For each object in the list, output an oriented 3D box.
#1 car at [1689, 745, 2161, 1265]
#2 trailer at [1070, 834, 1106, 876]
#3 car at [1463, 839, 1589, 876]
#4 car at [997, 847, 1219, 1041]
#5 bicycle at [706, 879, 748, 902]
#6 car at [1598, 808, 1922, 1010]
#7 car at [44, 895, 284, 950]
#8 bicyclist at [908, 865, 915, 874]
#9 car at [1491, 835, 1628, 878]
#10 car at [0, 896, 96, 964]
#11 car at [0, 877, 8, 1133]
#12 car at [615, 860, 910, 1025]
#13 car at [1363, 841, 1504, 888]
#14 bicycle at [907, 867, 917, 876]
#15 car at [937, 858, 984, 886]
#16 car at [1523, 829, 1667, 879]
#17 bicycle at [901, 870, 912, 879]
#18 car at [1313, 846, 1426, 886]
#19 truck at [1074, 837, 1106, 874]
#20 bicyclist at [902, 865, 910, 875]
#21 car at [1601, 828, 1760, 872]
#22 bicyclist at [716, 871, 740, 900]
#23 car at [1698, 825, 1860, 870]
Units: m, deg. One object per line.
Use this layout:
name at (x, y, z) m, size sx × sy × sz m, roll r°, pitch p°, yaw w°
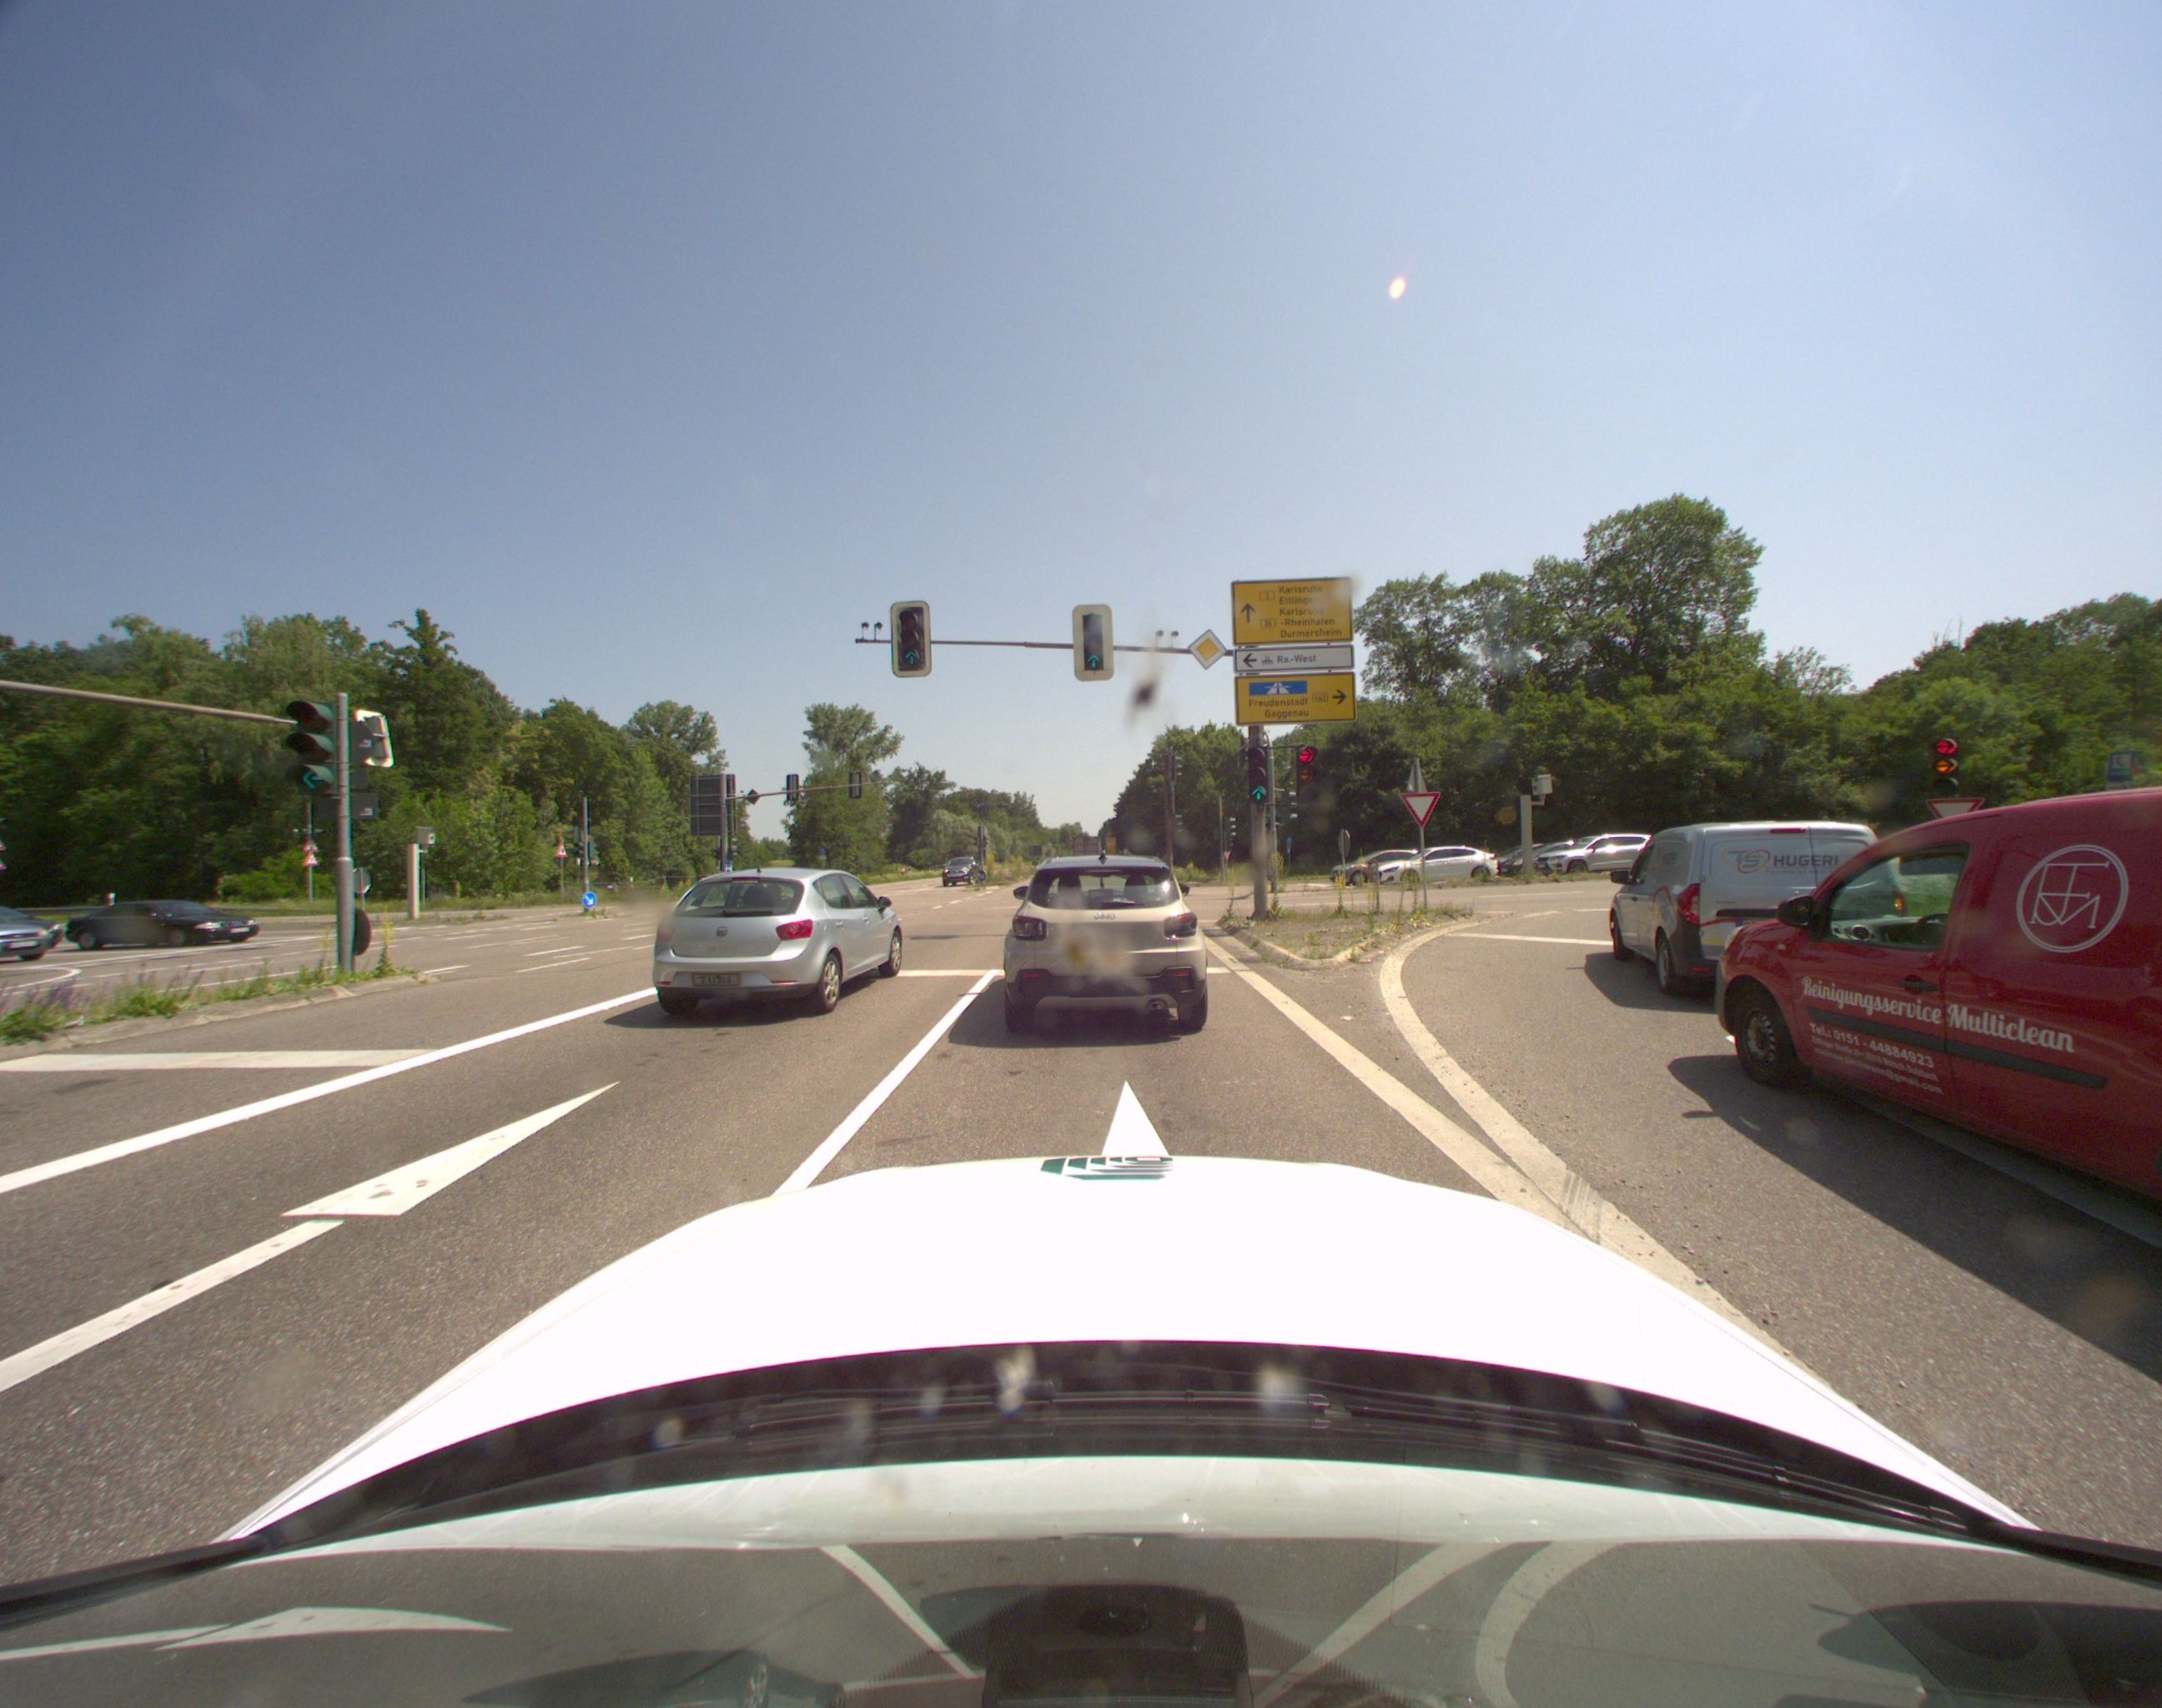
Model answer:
car at (4.846, 0.519, 3.564) m, size 1.780 × 1.822 × 4.511 m, roll -1°, pitch 0°, yaw 12°
trailer at (0.856, 0.172, 84.566) m, size 3.370 × 3.989 × 10.808 m, roll 0°, pitch -1°, yaw 2°
car at (20.459, 0.174, 37.590) m, size 4.600 × 1.498 × 2.112 m, roll -2°, pitch -1°, yaw 1°
car at (0.288, 0.741, 8.580) m, size 1.760 × 1.535 × 4.002 m, roll -1°, pitch 0°, yaw 2°
bicycle at (-18.293, 1.887, 42.128) m, size 0.715 × 1.063 × 1.881 m, roll -3°, pitch -1°, yaw 38°
car at (7.353, 0.485, 9.355) m, size 1.740 × 1.773 × 4.136 m, roll -2°, pitch 0°, yaw 24°
car at (-27.246, 2.014, 24.334) m, size 4.787 × 1.290 × 2.106 m, roll -2°, pitch 0°, yaw 1°
bicyclist at (-21.744, 2.005, 104.468) m, size 0.730 × 1.195 × 0.594 m, roll -3°, pitch -1°, yaw 12°
car at (19.808, 0.121, 33.889) m, size 4.404 × 1.535 × 2.122 m, roll -2°, pitch -1°, yaw 0°
car at (-28.504, 1.980, 20.493) m, size 4.788 × 1.567 × 2.130 m, roll -2°, pitch 0°, yaw 1°
car at (-6.746, 0.825, 2.430) m, size 1.759 × 1.391 × 4.014 m, roll 0°, pitch 0°, yaw 0°
car at (-3.211, 0.796, 9.075) m, size 1.659 × 1.430 × 3.830 m, roll 0°, pitch 0°, yaw 2°
car at (13.181, 0.392, 30.625) m, size 4.406 × 1.535 × 1.999 m, roll -2°, pitch 0°, yaw -1°
bicycle at (-21.708, 2.231, 104.547) m, size 0.600 × 1.006 × 1.560 m, roll -3°, pitch -1°, yaw 12°
car at (-7.783, 1.136, 53.146) m, size 1.986 × 1.678 × 5.368 m, roll -3°, pitch 0°, yaw 2°
car at (19.356, 0.017, 30.829) m, size 4.157 × 1.659 × 2.000 m, roll -2°, pitch 0°, yaw 1°
bicycle at (-21.432, 2.516, 100.186) m, size 0.671 × 1.005 × 1.806 m, roll -3°, pitch 0°, yaw 11°
car at (12.150, 0.495, 34.490) m, size 4.080 × 1.447 × 1.994 m, roll -2°, pitch 0°, yaw -1°
truck at (1.039, 0.216, 90.314) m, size 3.321 × 3.989 × 6.534 m, roll 0°, pitch -1°, yaw 1°
bicyclist at (-21.484, 1.999, 100.162) m, size 0.752 × 1.195 × 0.594 m, roll -3°, pitch 0°, yaw 11°
car at (25.313, -0.145, 34.536) m, size 5.110 × 1.534 × 2.138 m, roll -3°, pitch -1°, yaw 1°
bicyclist at (-18.267, 1.608, 42.161) m, size 0.914 × 1.459 × 0.721 m, roll -3°, pitch -1°, yaw 39°
car at (26.140, -0.220, 30.613) m, size 4.315 × 1.414 × 1.975 m, roll -3°, pitch -1°, yaw 1°
